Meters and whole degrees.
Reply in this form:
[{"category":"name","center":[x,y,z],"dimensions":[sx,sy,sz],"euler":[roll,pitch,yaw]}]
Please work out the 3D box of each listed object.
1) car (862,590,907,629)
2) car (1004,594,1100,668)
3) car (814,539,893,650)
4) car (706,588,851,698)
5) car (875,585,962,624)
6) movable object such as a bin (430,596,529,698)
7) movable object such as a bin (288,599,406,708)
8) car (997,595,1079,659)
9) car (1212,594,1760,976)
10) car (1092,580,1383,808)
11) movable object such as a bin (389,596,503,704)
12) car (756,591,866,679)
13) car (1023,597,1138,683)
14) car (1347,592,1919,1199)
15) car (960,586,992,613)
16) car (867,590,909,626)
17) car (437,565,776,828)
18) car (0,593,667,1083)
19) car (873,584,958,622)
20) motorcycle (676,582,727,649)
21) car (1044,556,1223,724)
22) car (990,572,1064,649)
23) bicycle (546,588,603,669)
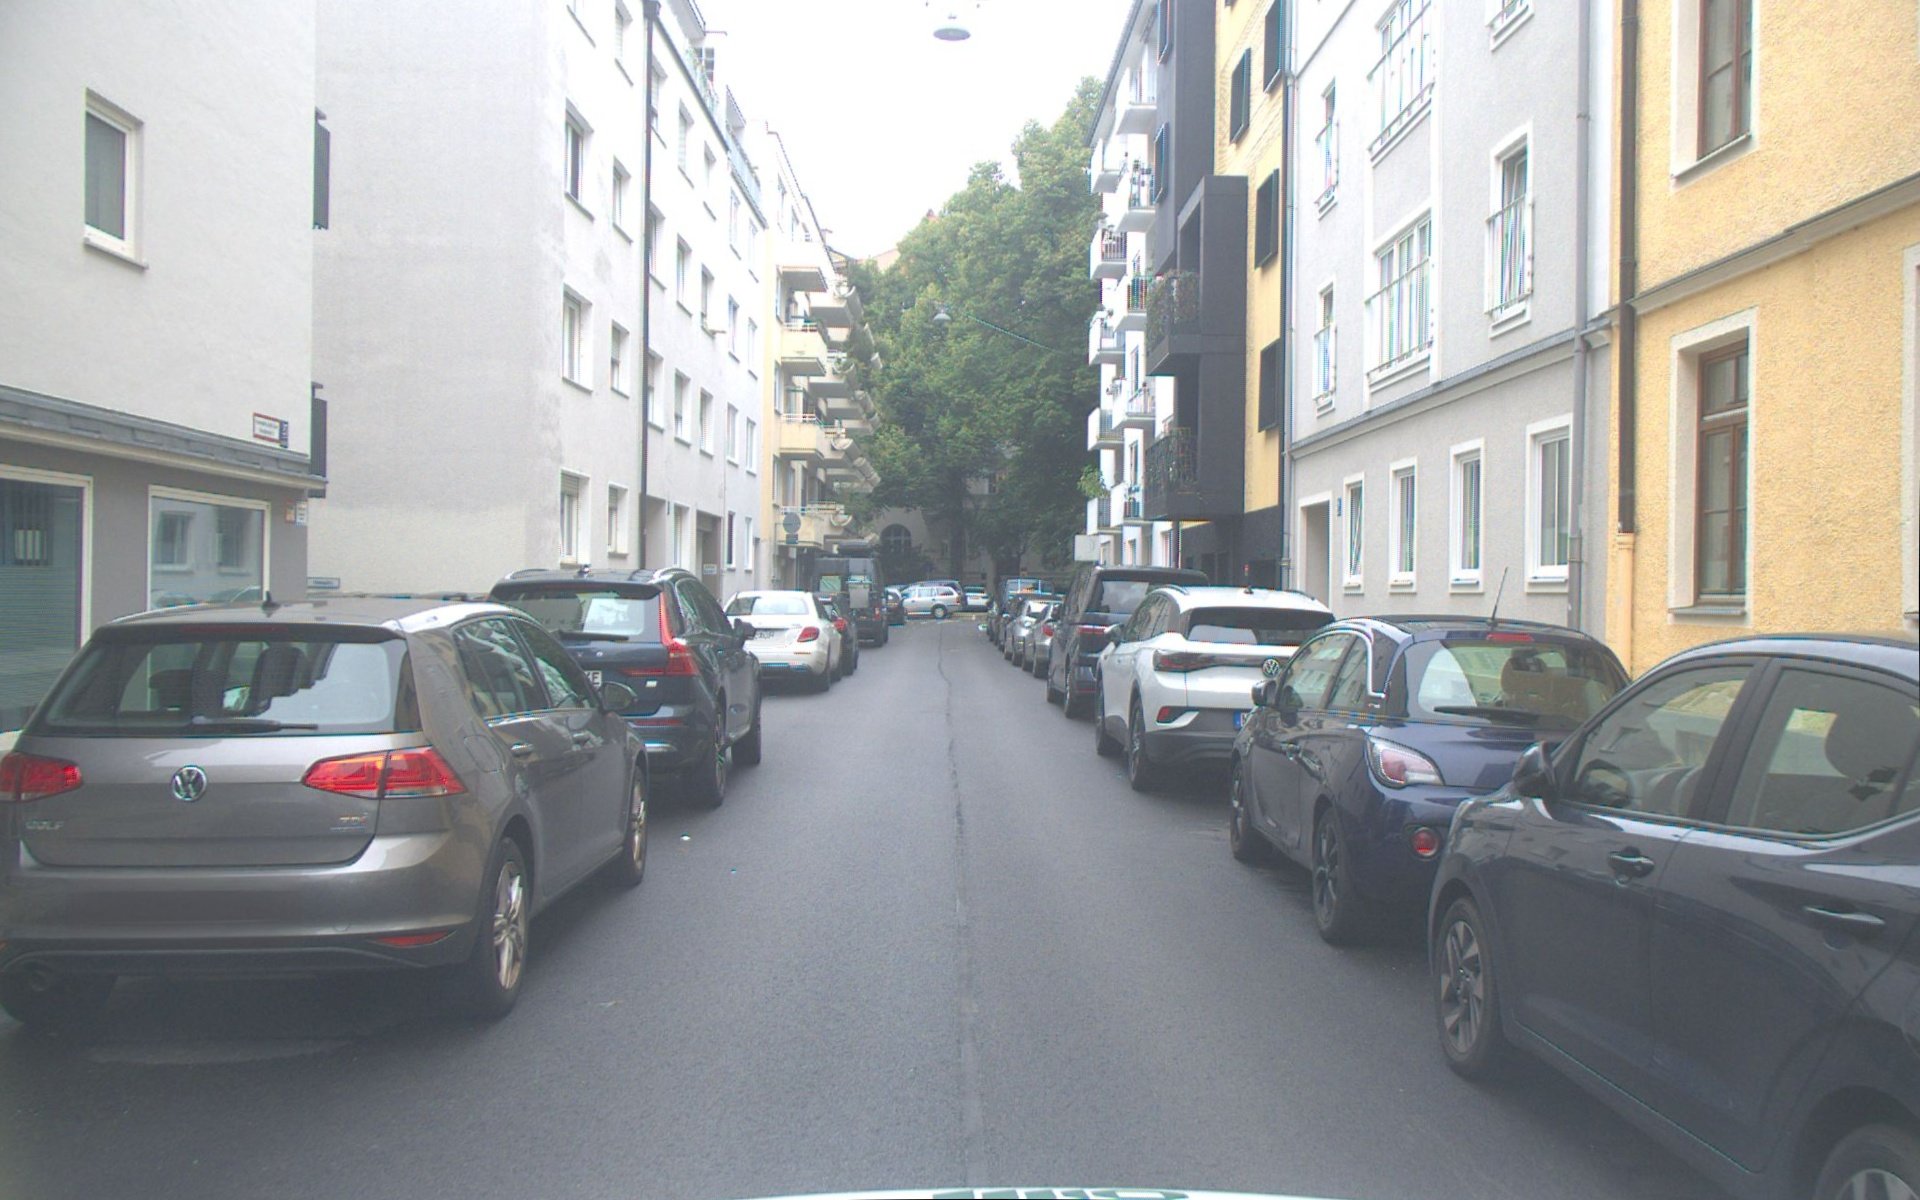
[{"category":"car","center":[-2.917,0.345,64.315],"dimensions":[1.609,1.408,3.481],"euler":[-2,0,-1]},{"category":"car","center":[2.070,0.672,38.243],"dimensions":[1.792,1.479,4.414],"euler":[4,0,-1]},{"category":"car","center":[-2.875,-0.153,45.607],"dimensions":[1.897,2.850,4.531],"euler":[-2,0,-1]},{"category":"car","center":[-2.744,0.597,25.930],"dimensions":[1.740,1.513,4.519],"euler":[-2,0,0]},{"category":"car","center":[-1.866,0.199,74.277],"dimensions":[3.808,1.612,1.647],"euler":[-2,0,-2]},{"category":"movable object such as a bin","center":[-6.689,0.636,23.087],"dimensions":[1.026,1.360,0.993],"euler":[-2,0,2]},{"category":"movable object such as a bin","center":[-8.045,0.691,21.756],"dimensions":[1.134,1.360,0.993],"euler":[-2,0,2]},{"category":"car","center":[1.995,0.658,43.509],"dimensions":[1.792,1.479,4.414],"euler":[4,0,-1]},{"category":"car","center":[2.493,0.766,8.824],"dimensions":[1.630,1.495,3.818],"euler":[3,0,0]},{"category":"car","center":[2.225,0.680,14.425],"dimensions":[1.648,1.595,4.414],"euler":[3,0,-1]},{"category":"movable object such as a bin","center":[-6.823,0.650,22.008],"dimensions":[1.142,1.360,1.025],"euler":[-2,0,2]},{"category":"car","center":[-2.742,0.600,31.135],"dimensions":[1.741,1.478,4.045],"euler":[-2,0,-1]},{"category":"car","center":[2.325,0.734,33.013],"dimensions":[1.792,1.479,4.414],"euler":[4,0,-1]},{"category":"car","center":[2.547,0.785,4.588],"dimensions":[1.716,1.495,4.341],"euler":[3,0,-2]},{"category":"car","center":[0.854,-0.039,91.252],"dimensions":[1.609,1.408,3.745],"euler":[-2,0,-1]},{"category":"car","center":[-2.926,0.317,68.160],"dimensions":[1.609,1.408,3.481],"euler":[-2,0,-1]},{"category":"car","center":[-2.497,0.600,12.745],"dimensions":[1.741,1.658,4.413],"euler":[0,0,-1]},{"category":"car","center":[-2.362,0.714,7.034],"dimensions":[1.659,1.467,3.976],"euler":[0,0,-2]},{"category":"car","center":[-2.046,0.140,76.211],"dimensions":[3.808,1.612,1.647],"euler":[-2,0,-2]},{"category":"motorcycle","center":[-5.553,0.319,35.695],"dimensions":[0.666,1.374,2.486],"euler":[1,0,0]},{"category":"car","center":[2.196,0.460,22.087],"dimensions":[1.792,1.943,4.415],"euler":[2,0,-1]},{"category":"car","center":[1.912,0.286,48.588],"dimensions":[1.792,2.034,4.414],"euler":[4,0,-1]},{"category":"bicycle","center":[-5.872,0.411,25.254],"dimensions":[0.388,1.086,2.133],"euler":[2,2,-2]}]
